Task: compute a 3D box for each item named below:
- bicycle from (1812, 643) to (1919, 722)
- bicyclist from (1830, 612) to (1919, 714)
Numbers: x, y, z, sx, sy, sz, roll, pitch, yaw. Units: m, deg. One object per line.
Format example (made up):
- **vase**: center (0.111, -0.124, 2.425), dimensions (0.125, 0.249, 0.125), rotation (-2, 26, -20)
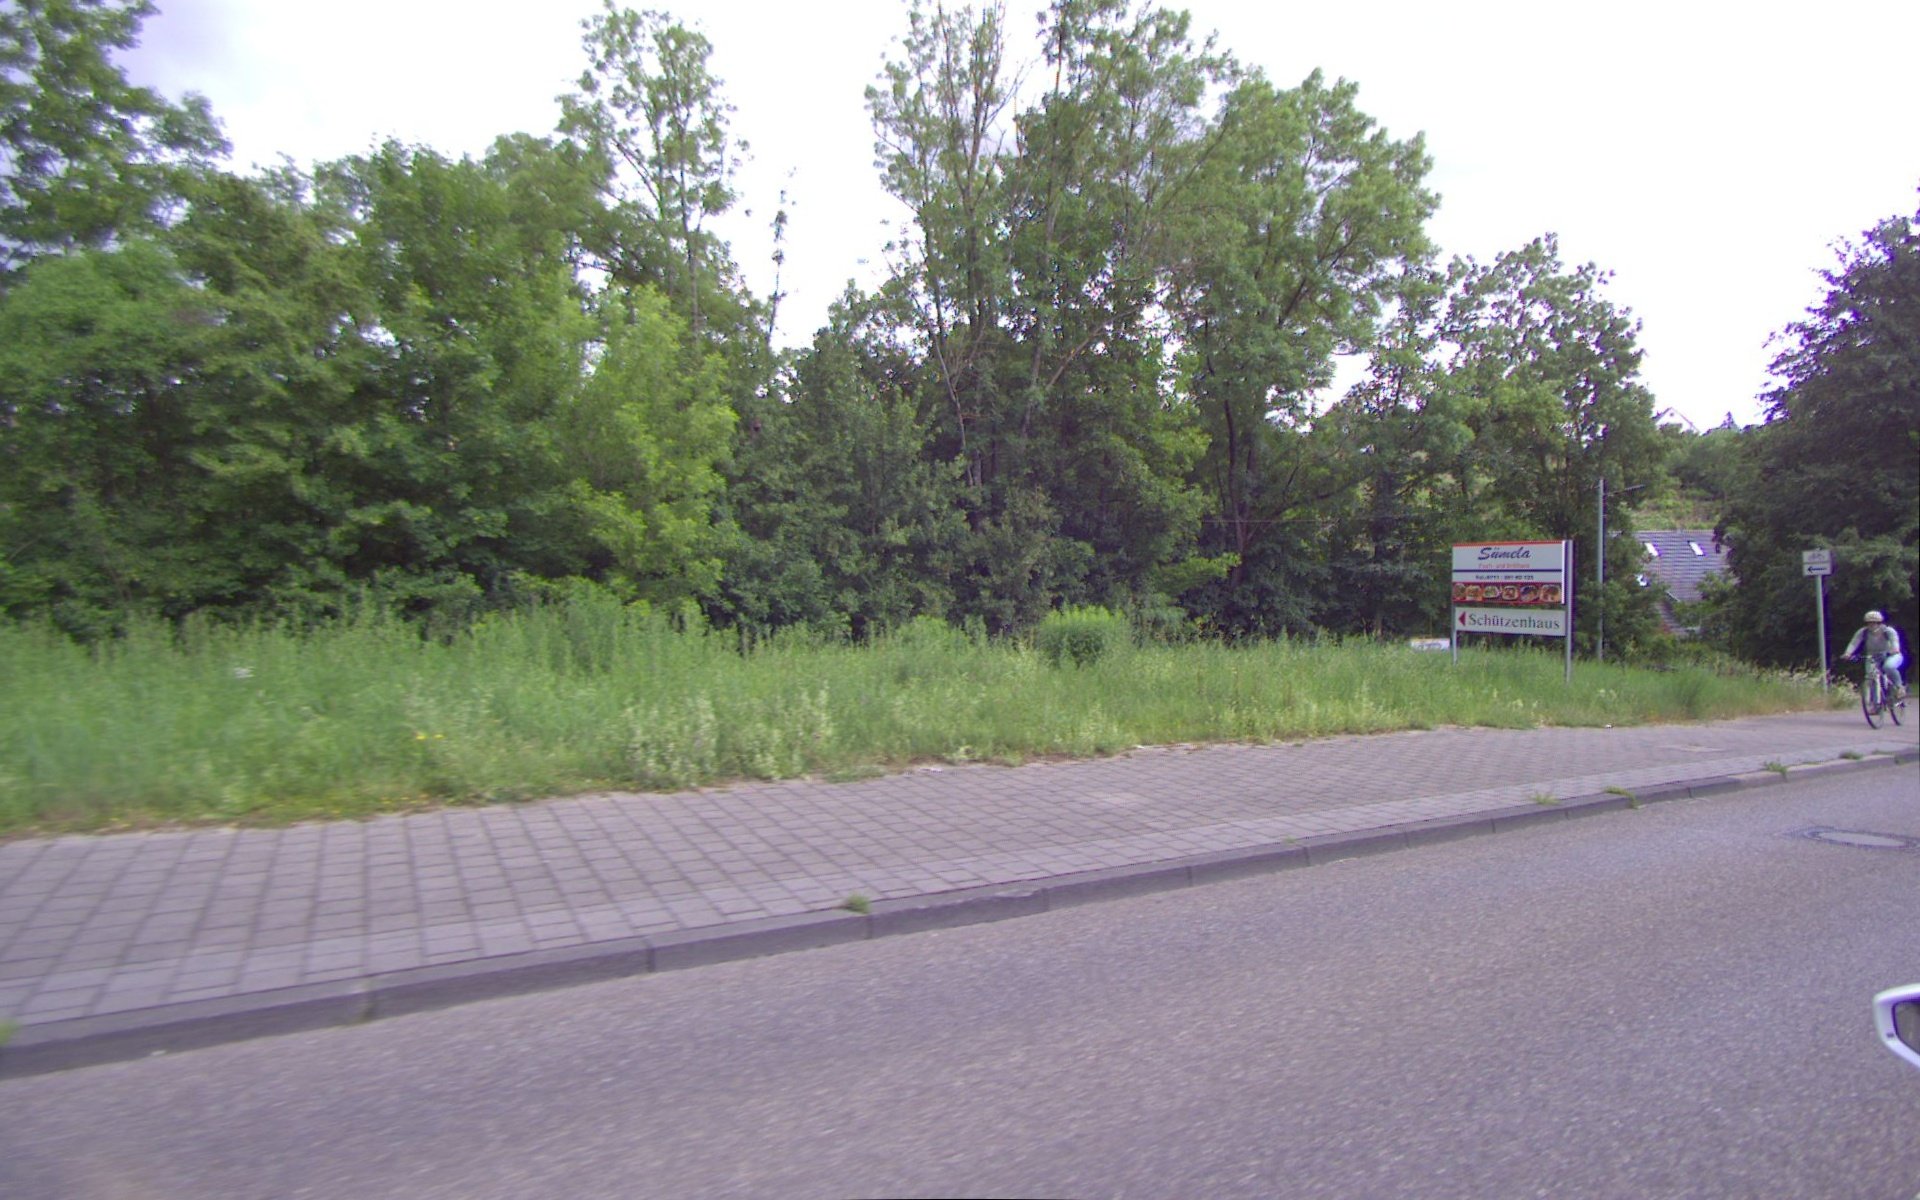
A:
- **bicycle**: center (13.691, 1.196, 15.019), dimensions (2.419, 1.050, 0.823), rotation (2, 1, -35)
- **bicyclist**: center (13.677, 0.916, 15.011), dimensions (0.773, 1.446, 0.821), rotation (2, 0, -34)
